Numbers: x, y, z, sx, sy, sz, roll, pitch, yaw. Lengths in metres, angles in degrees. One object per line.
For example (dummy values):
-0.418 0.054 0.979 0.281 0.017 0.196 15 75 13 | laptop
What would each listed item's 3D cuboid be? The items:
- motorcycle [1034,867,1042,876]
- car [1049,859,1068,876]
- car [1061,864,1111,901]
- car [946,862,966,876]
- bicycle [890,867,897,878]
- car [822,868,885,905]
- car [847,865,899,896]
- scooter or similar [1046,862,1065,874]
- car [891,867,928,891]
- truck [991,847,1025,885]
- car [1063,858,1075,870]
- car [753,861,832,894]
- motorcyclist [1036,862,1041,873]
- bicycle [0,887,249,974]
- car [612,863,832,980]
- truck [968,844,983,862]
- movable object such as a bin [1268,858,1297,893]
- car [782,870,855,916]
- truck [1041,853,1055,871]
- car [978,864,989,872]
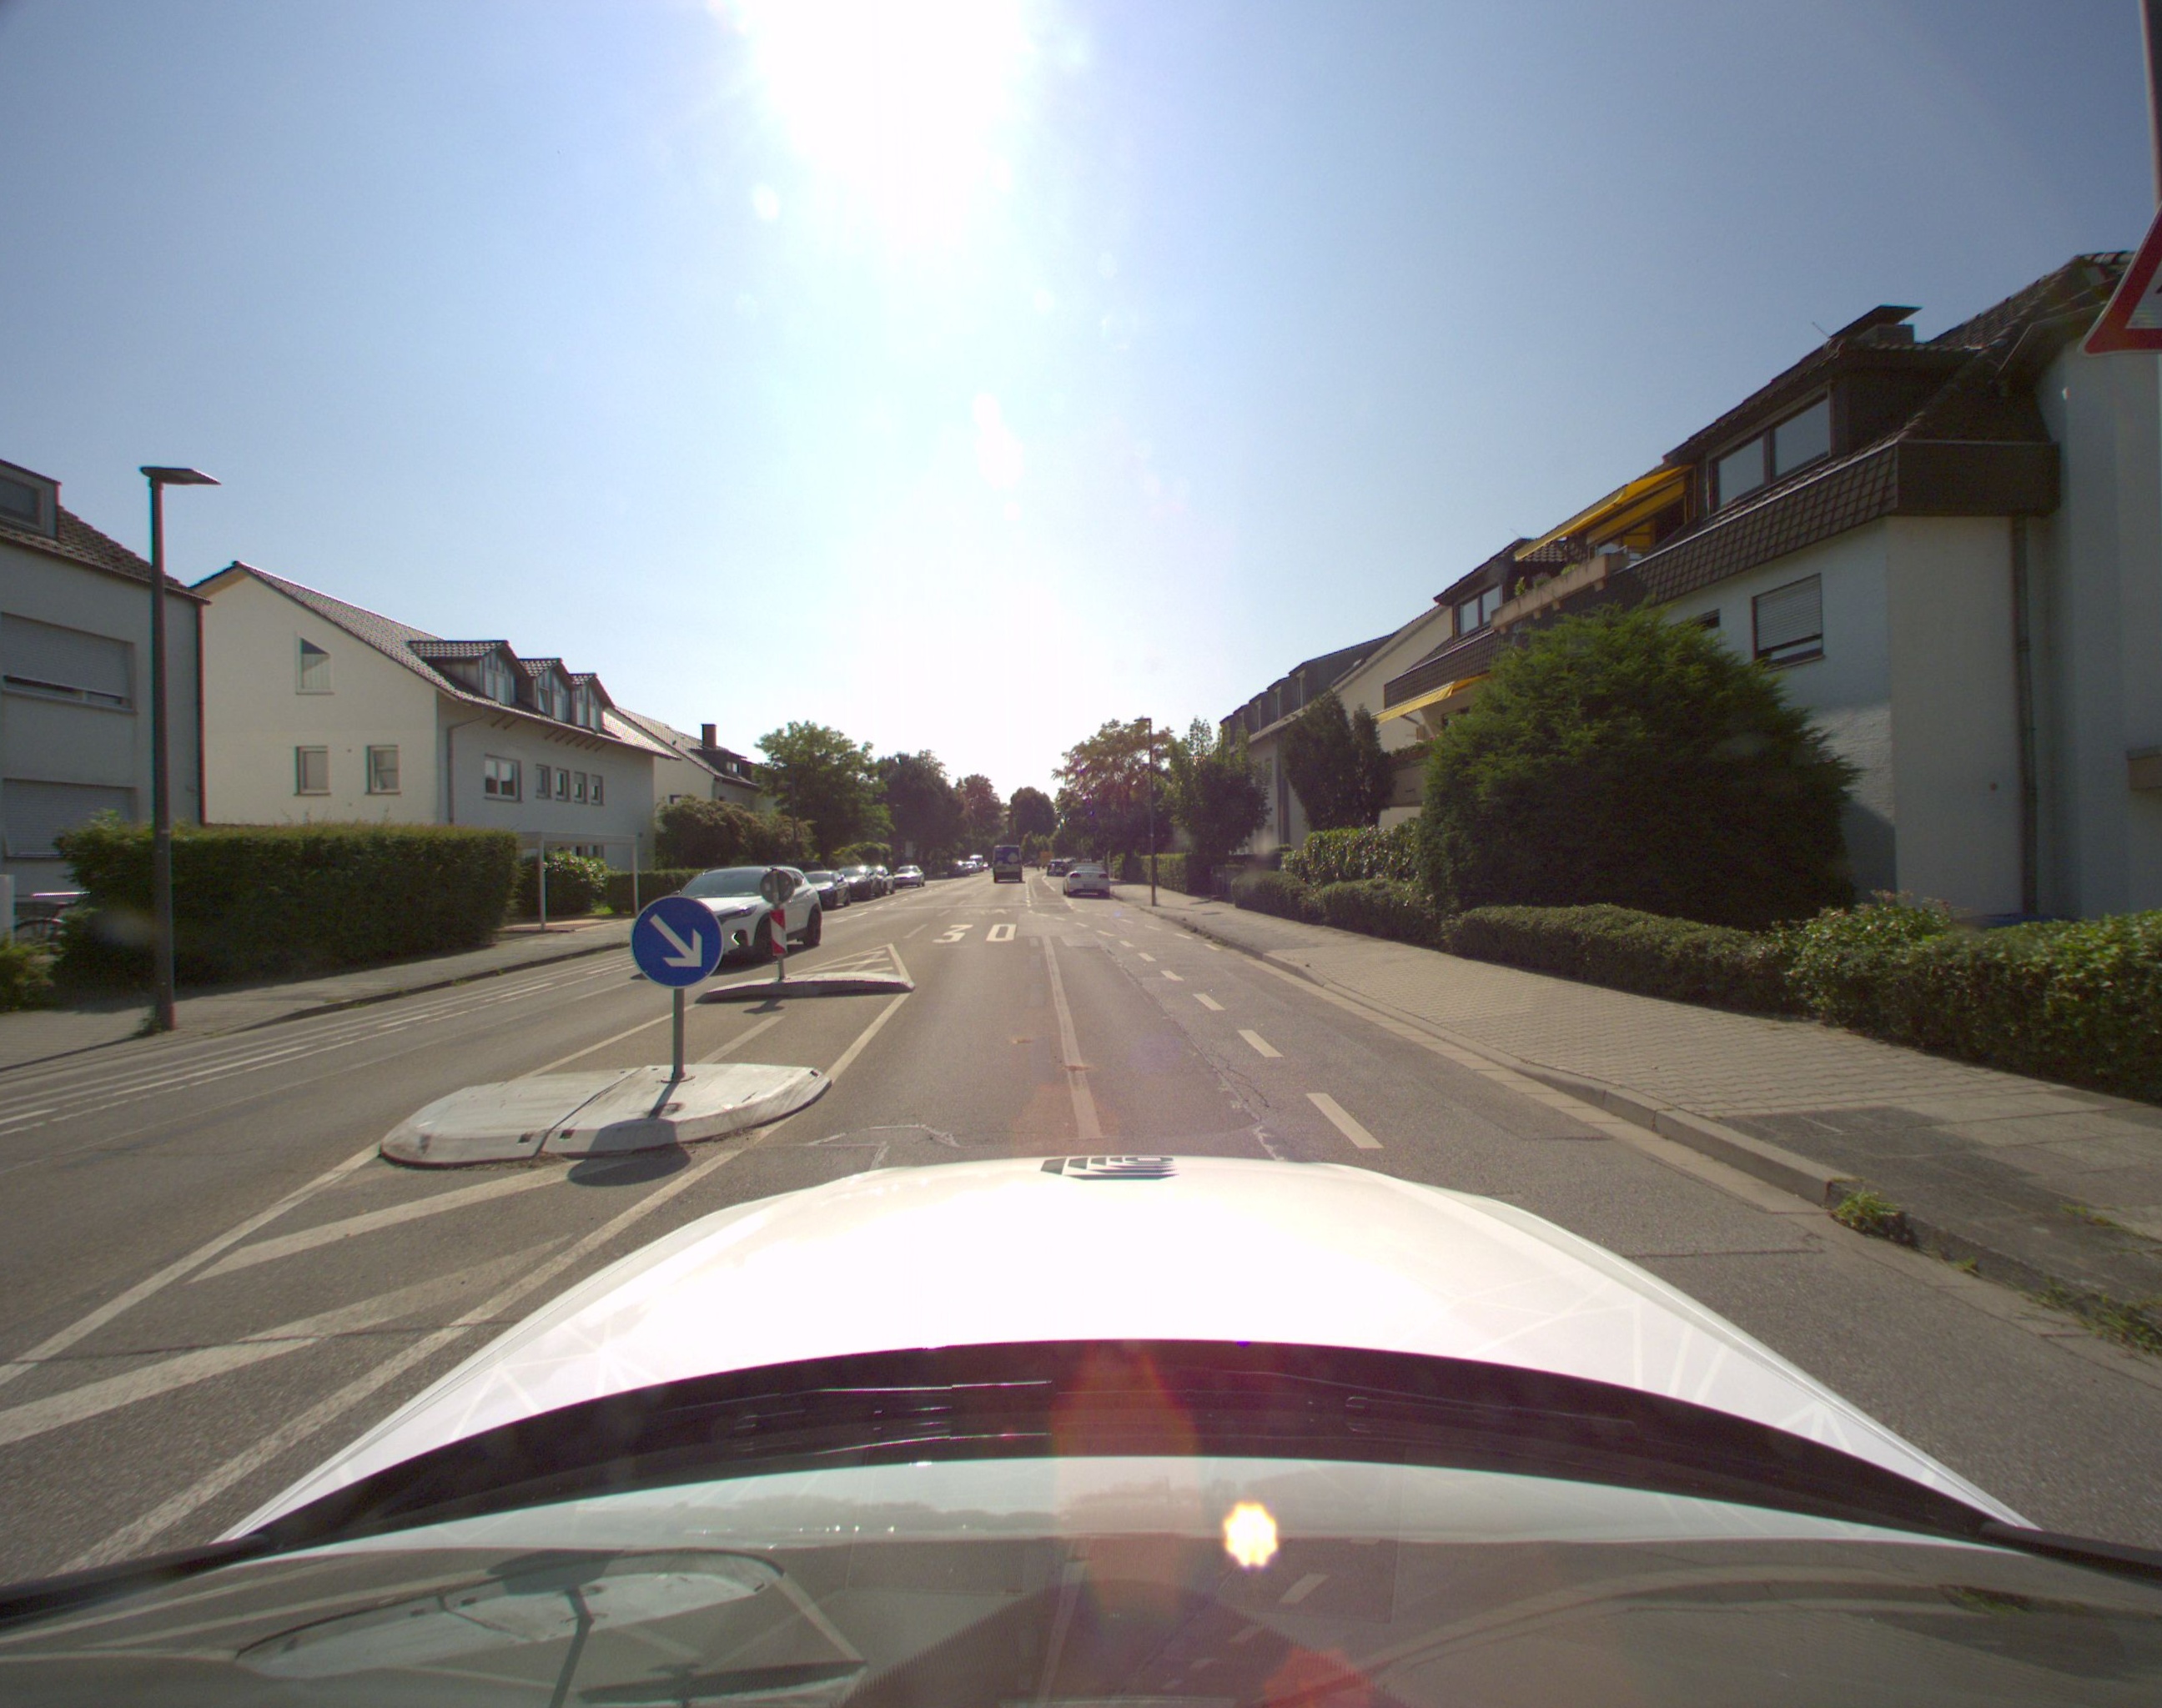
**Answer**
-5.856 2.372 111.915 1.054 1.122 2.988 -2 -1 -3 | motorcycle
-2.313 1.368 82.186 1.781 1.638 4.463 0 0 -4 | car
0.153 1.145 34.406 1.737 1.402 4.067 -1 0 -5 | car
-13.517 1.636 87.976 1.778 1.460 4.079 -1 0 -5 | car
-21.271 2.047 92.472 0.539 1.181 1.436 -2 2 -21 | bicycle
-10.178 1.431 36.716 1.781 1.440 4.107 -3 0 -2 | car
-10.630 1.321 41.853 1.781 1.440 3.995 -2 0 -3 | car
-2.481 1.368 79.465 1.774 1.154 0.724 2 -1 41 | scooter or similar
-11.223 1.590 53.459 1.781 1.440 3.995 -1 0 -4 | car
-5.205 0.856 58.672 2.268 2.571 4.385 -2 -1 -4 | truck
-1.679 1.450 116.450 1.695 1.677 3.773 -2 0 -1 | car
-17.146 1.377 48.610 3.979 1.759 1.997 -1 0 -4 | car
-5.852 1.903 111.805 0.671 1.518 0.651 -1 -1 -4 | motorcyclist
-14.750 1.142 12.667 2.449 1.106 0.532 -1 5 -35 | bicycle
-6.151 1.051 14.641 1.909 1.666 4.504 -3 -1 -1 | car
-15.854 -0.122 122.986 2.078 2.537 5.454 -1 0 -6 | truck
7.415 0.763 29.963 0.746 1.243 0.791 -2 0 -8 | movable object such as a bin
-9.780 1.420 30.682 1.783 1.440 4.145 -3 0 -7 | car
-5.692 1.373 142.284 2.208 2.946 5.683 -2 -1 -1 | truck
-17.198 2.466 143.288 1.752 1.343 3.647 -1 0 -5 | car
